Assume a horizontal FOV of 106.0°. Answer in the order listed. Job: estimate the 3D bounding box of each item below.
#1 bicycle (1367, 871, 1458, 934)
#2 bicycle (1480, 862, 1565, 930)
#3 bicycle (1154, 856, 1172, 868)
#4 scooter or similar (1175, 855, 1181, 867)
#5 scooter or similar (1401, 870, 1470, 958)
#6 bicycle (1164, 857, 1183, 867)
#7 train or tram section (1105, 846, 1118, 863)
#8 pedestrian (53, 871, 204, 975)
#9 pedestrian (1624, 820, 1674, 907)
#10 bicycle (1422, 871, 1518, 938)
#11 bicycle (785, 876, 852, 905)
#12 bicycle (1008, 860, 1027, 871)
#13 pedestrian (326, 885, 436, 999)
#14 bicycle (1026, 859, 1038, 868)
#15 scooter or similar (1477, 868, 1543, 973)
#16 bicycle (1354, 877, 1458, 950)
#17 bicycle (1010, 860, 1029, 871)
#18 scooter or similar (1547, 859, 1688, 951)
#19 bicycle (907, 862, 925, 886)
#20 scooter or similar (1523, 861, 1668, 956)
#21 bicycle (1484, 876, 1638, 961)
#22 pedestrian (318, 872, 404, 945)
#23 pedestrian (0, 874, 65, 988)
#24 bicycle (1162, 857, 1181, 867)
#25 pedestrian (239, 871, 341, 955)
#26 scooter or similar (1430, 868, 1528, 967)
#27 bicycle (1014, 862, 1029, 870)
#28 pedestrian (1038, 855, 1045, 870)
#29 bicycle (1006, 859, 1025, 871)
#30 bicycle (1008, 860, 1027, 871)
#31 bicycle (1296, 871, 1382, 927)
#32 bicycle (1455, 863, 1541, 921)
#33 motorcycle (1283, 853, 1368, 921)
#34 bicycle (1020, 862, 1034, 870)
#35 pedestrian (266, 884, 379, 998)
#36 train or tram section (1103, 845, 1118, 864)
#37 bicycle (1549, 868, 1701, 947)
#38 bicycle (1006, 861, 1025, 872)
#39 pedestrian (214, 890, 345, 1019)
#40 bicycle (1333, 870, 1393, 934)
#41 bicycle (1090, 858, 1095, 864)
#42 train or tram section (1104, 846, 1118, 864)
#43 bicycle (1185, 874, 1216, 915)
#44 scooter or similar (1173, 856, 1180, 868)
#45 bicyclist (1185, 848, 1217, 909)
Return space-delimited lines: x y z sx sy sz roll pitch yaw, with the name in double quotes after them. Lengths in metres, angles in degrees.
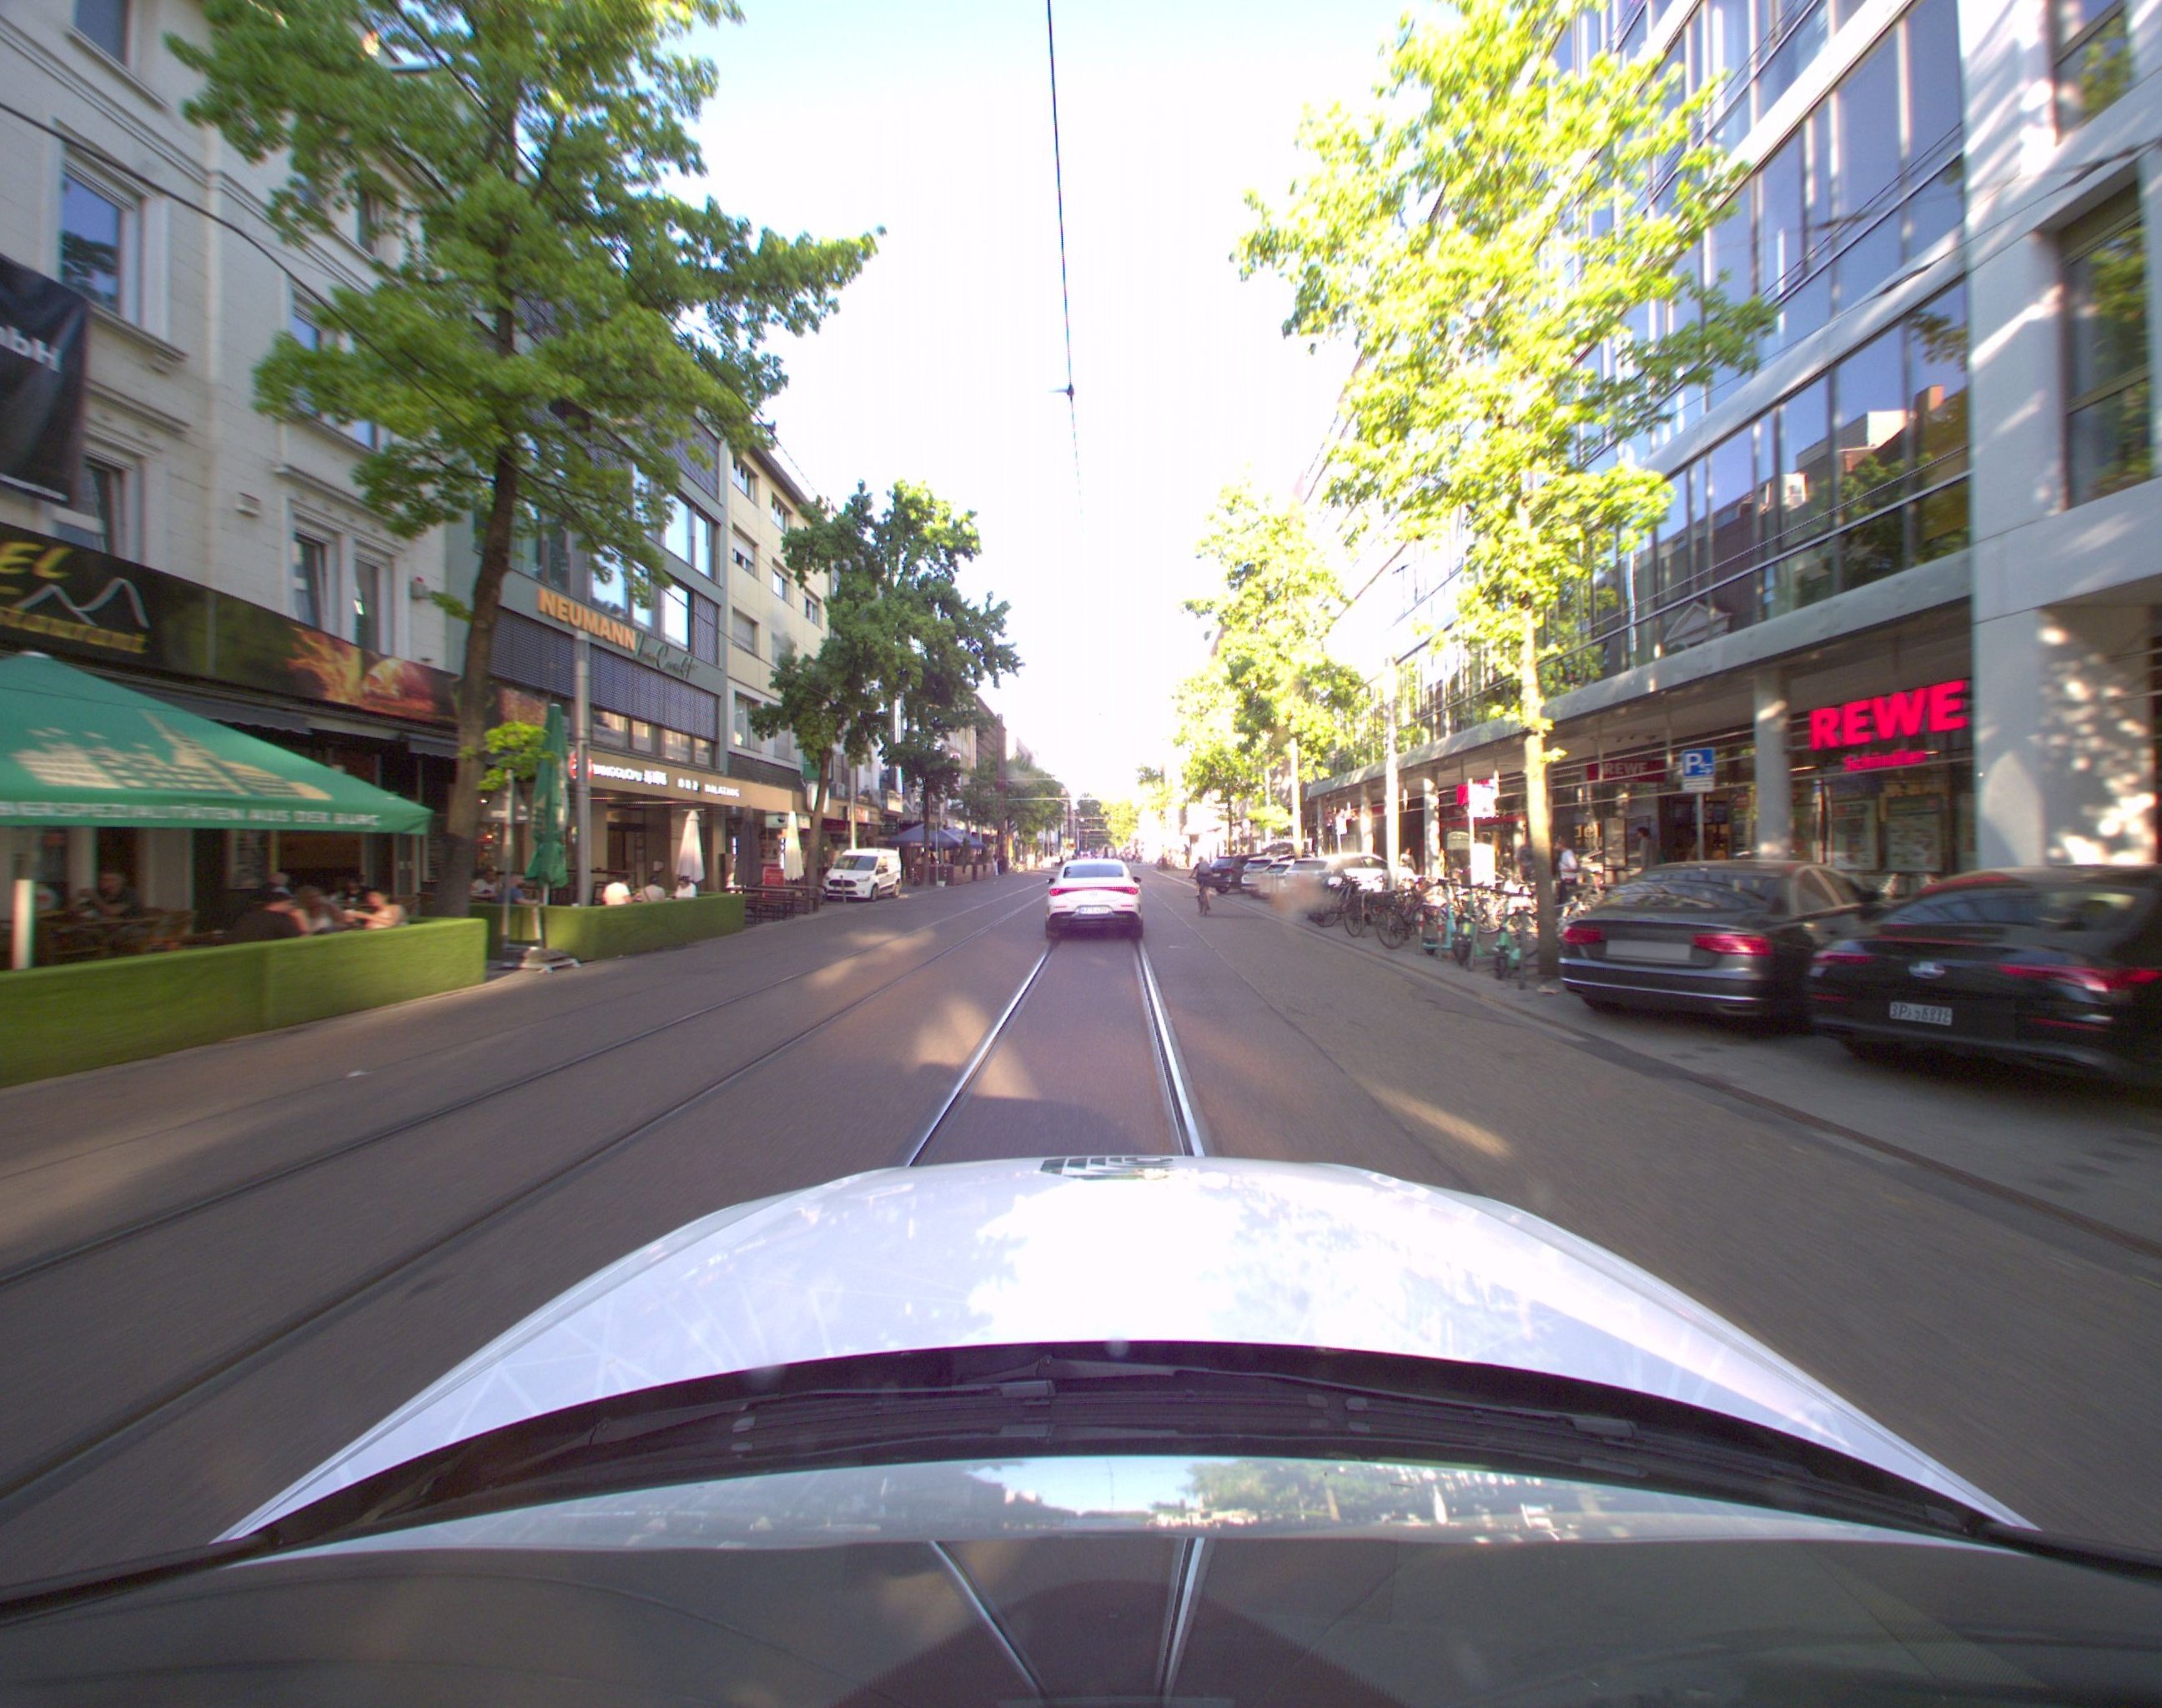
6.651 0.951 16.332 1.697 1.106 0.627 -4 -1 -24 "bicycle"
8.517 0.787 15.712 1.273 1.173 0.860 -4 1 -29 "bicycle"
9.448 0.938 93.686 1.908 1.281 0.608 -2 -1 -10 "bicycle"
10.500 0.732 88.173 0.491 1.277 0.658 -3 0 -9 "scooter or similar"
5.566 0.911 12.838 0.449 1.276 1.307 -4 -1 1 "scooter or similar"
10.890 0.984 95.964 2.114 1.096 0.607 -1 -1 -11 "bicycle"
6.634 0.172 178.796 2.684 3.516 11.149 -1 0 2 "train or tram section"
-12.298 0.869 10.554 0.774 1.237 0.945 2 0 1 "pedestrian"
12.898 0.219 18.496 0.580 1.919 0.664 -3 -1 4 "pedestrian"
7.271 0.916 15.219 1.679 1.074 0.726 -4 1 -28 "bicycle"
-8.406 1.157 26.154 0.826 0.865 1.872 1 0 40 "bicycle"
-5.972 1.078 76.475 1.784 1.077 0.377 1 0 -2 "bicycle"
-8.192 1.010 9.557 0.616 1.245 0.697 2 0 1 "pedestrian"
-5.765 1.141 95.801 1.492 1.029 0.343 1 0 -8 "bicycle"
5.846 0.874 11.066 0.452 1.276 1.315 -5 -1 39 "scooter or similar"
5.738 1.021 14.392 1.567 1.088 0.861 -4 1 -28 "bicycle"
-5.897 1.095 78.180 1.841 1.077 0.377 1 0 -2 "bicycle"
8.205 0.754 12.525 0.565 1.293 1.662 -3 0 -35 "scooter or similar"
-8.288 0.981 40.826 0.699 1.121 2.076 2 0 -15 "bicycle"
7.670 0.790 12.202 0.634 1.293 1.662 -3 0 -35 "scooter or similar"
6.953 0.902 11.891 0.554 1.107 1.830 -3 0 -33 "bicycle"
-12.183 0.905 13.807 0.697 1.168 0.788 2 0 1 "pedestrian"
-12.500 0.873 9.302 0.733 1.232 0.788 2 0 1 "pedestrian"
10.908 0.967 98.165 2.113 1.096 0.608 -1 -1 -10 "bicycle"
-12.208 0.898 12.589 0.733 1.214 0.788 2 0 1 "pedestrian"
5.802 0.897 11.874 1.311 1.276 0.559 -4 -1 -30 "scooter or similar"
-6.139 1.266 84.433 1.486 0.841 0.345 1 0 3 "bicycle"
-4.824 1.005 99.112 0.784 1.801 0.845 -1 0 3 "pedestrian"
-6.502 1.075 80.680 1.838 1.141 0.377 1 0 3 "bicycle"
-5.991 1.083 76.948 1.784 1.077 0.377 1 0 -2 "bicycle"
5.904 1.006 18.584 1.901 1.119 0.661 -3 -1 -27 "bicycle"
9.031 0.812 17.627 1.780 1.106 0.627 -4 -1 -24 "bicycle"
6.067 0.799 20.152 2.332 1.510 0.849 -3 -1 -42 "motorcycle"
-5.662 1.231 85.723 1.486 0.783 0.345 1 0 3 "bicycle"
-8.917 1.005 9.597 0.616 1.245 0.697 2 0 1 "pedestrian"
5.634 0.118 154.409 2.684 3.516 12.551 -1 0 2 "train or tram section"
8.653 0.827 13.032 0.629 1.130 1.868 -3 0 -34 "bicycle"
-5.912 1.136 73.616 1.586 0.930 0.378 1 0 8 "bicycle"
-8.359 1.022 8.521 0.616 1.245 0.697 2 0 1 "pedestrian"
5.778 0.958 16.641 0.475 1.163 1.705 -4 -1 41 "bicycle"
2.031 1.203 143.244 0.797 1.142 2.257 1 0 1 "bicycle"
6.153 0.143 166.958 2.684 3.516 12.551 -1 0 2 "train or tram section"
3.277 1.070 22.211 0.714 0.995 2.065 1 0 11 "bicycle"
10.415 0.865 88.902 0.527 1.277 0.658 -3 0 -9 "scooter or similar"
3.256 0.646 22.060 0.772 1.613 0.915 1 0 11 "bicyclist"
